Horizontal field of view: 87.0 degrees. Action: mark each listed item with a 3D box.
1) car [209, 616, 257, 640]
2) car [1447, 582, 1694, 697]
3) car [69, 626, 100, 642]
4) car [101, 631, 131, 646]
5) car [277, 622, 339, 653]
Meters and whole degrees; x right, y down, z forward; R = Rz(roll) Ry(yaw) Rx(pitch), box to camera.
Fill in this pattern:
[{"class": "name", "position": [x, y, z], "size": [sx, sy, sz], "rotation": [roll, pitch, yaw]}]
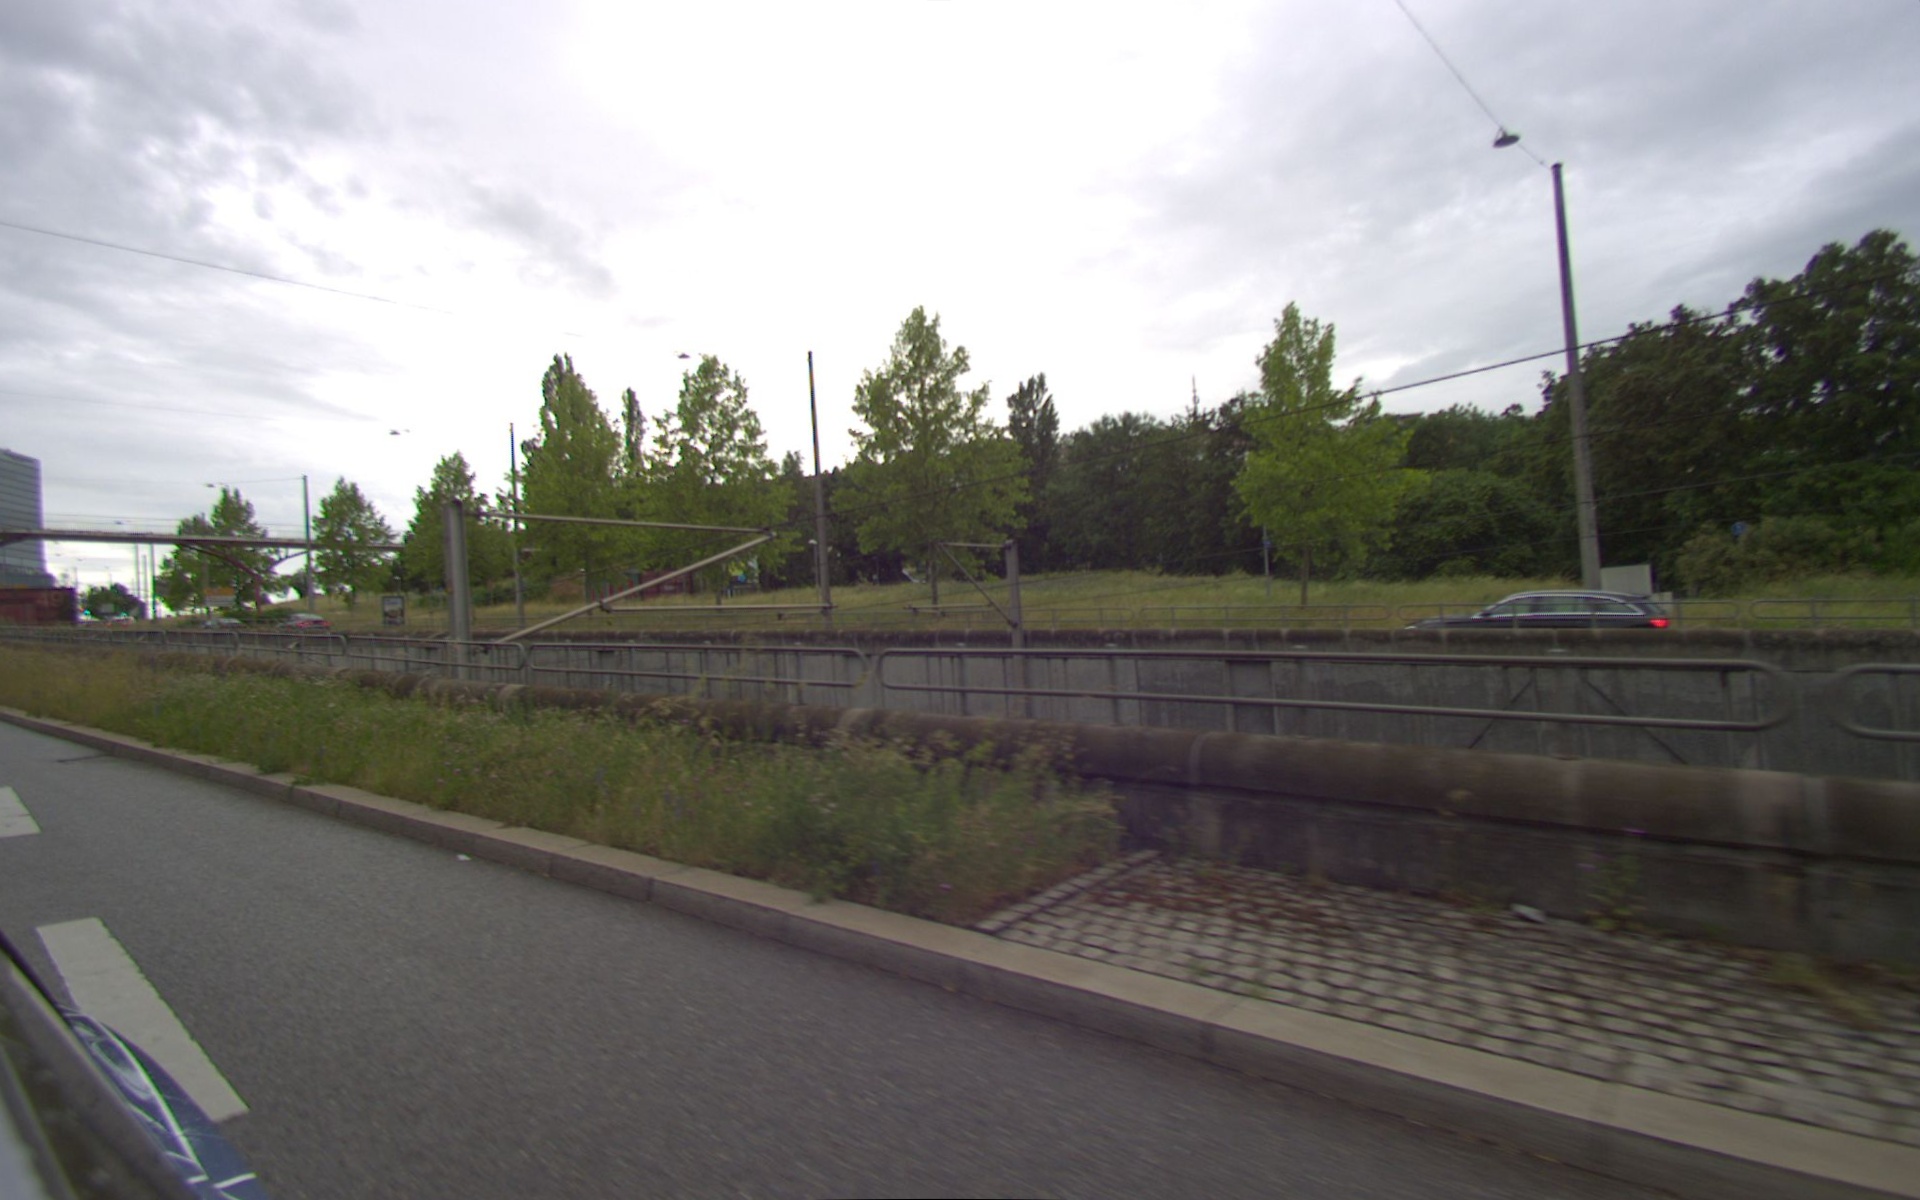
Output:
[{"class": "car", "position": [-52.713, 2.010, 73.378], "size": [3.968, 1.653, 1.872], "rotation": [-2, -1, 39]}, {"class": "car", "position": [12.114, 0.757, 20.192], "size": [4.027, 1.985, 1.874], "rotation": [-2, 2, 36]}, {"class": "car", "position": [-89.694, 3.514, 103.641], "size": [4.430, 1.539, 1.640], "rotation": [-2, 0, 39]}, {"class": "car", "position": [-95.502, 4.331, 114.461], "size": [3.783, 1.585, 1.642], "rotation": [-2, 2, 36]}, {"class": "car", "position": [-39.909, 2.281, 61.917], "size": [4.353, 1.656, 1.873], "rotation": [-2, 2, 39]}]
